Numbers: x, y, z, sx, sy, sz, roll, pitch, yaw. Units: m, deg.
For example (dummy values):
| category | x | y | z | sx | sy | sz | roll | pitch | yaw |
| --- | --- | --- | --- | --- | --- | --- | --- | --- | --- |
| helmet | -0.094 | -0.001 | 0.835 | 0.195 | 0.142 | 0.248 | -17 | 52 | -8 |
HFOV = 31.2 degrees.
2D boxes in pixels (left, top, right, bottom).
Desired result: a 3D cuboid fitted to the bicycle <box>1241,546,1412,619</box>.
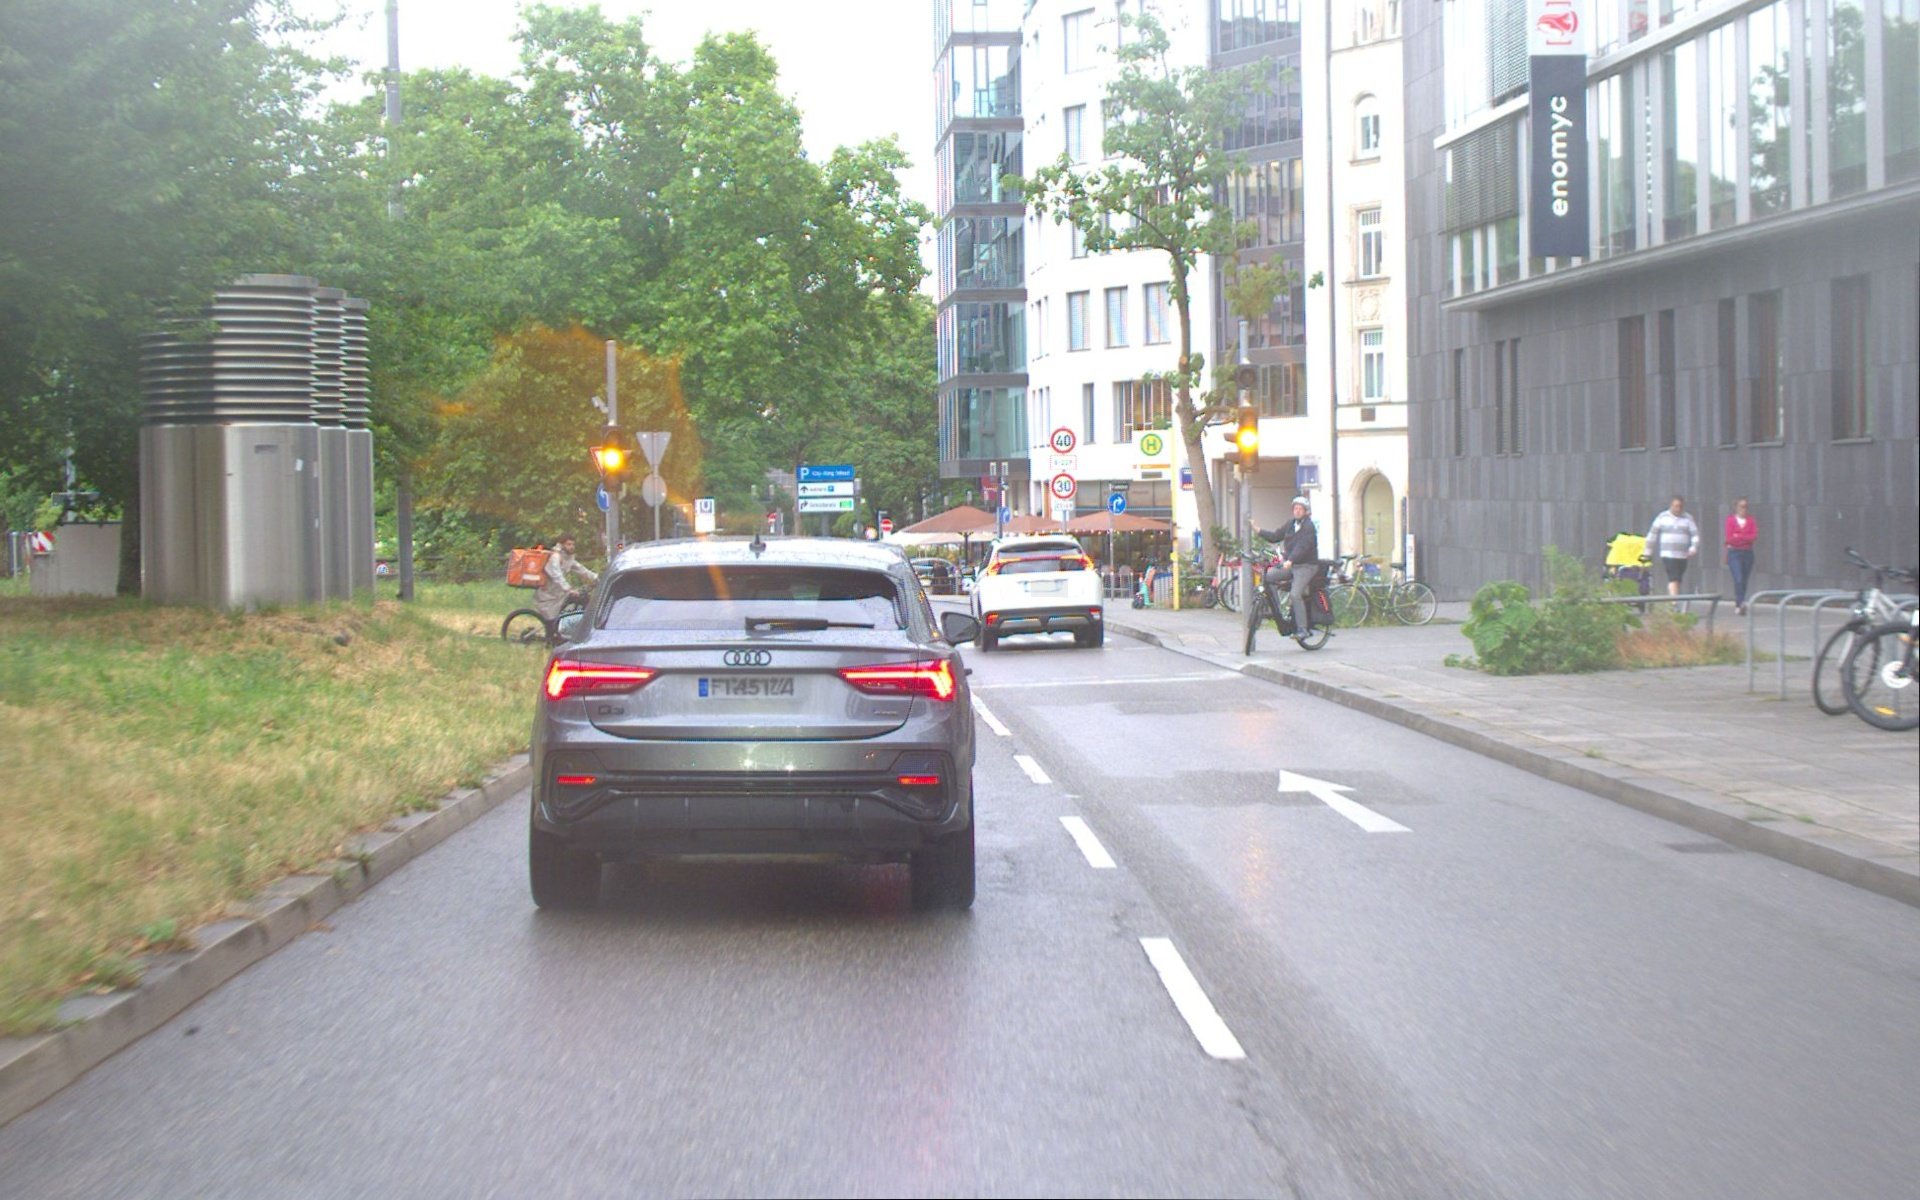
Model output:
| category | x | y | z | sx | sy | sz | roll | pitch | yaw |
| --- | --- | --- | --- | --- | --- | --- | --- | --- | --- |
| bicycle | 5.665 | -0.272 | 53.230 | 2.535 | 1.083 | 0.677 | 1 | 1 | -3 |

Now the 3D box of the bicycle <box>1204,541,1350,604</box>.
| category | x | y | z | sx | sy | sz | roll | pitch | yaw |
| --- | --- | --- | --- | --- | --- | --- | --- | --- | --- |
| bicycle | 5.760 | -0.502 | 62.550 | 2.535 | 1.083 | 0.677 | -2 | 1 | -3 |

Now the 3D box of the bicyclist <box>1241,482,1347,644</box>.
| category | x | y | z | sx | sy | sz | roll | pitch | yaw |
| --- | --- | --- | --- | --- | --- | --- | --- | --- | --- |
| bicyclist | 4.341 | -0.481 | 44.653 | 1.082 | 2.076 | 0.763 | -2 | 1 | -37 |

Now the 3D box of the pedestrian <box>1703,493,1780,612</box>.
| category | x | y | z | sx | sy | sz | roll | pitch | yaw |
| --- | --- | --- | --- | --- | --- | --- | --- | --- | --- |
| pedestrian | 11.421 | -0.702 | 50.285 | 0.718 | 1.684 | 1.100 | -4 | 1 | -4 |

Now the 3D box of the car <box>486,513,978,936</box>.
| category | x | y | z | sx | sy | sz | roll | pitch | yaw |
| --- | --- | --- | --- | --- | --- | --- | --- | --- | --- |
| car | -0.863 | 0.426 | 15.319 | 1.848 | 1.610 | 4.253 | 0 | 2 | 1 |

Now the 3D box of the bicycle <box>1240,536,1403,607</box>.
| category | x | y | z | sx | sy | sz | roll | pitch | yaw |
| --- | --- | --- | --- | --- | --- | --- | --- | --- | --- |
| bicycle | 5.896 | -0.464 | 56.114 | 2.535 | 1.083 | 0.677 | -2 | 1 | -3 |

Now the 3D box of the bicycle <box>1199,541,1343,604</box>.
| category | x | y | z | sx | sy | sz | roll | pitch | yaw |
| --- | --- | --- | --- | --- | --- | --- | --- | --- | --- |
| bicycle | 5.721 | -0.501 | 63.298 | 2.535 | 1.083 | 0.677 | -2 | 1 | -3 |

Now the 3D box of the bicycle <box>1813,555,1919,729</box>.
| category | x | y | z | sx | sy | sz | roll | pitch | yaw |
| --- | --- | --- | --- | --- | --- | --- | --- | --- | --- |
| bicycle | 6.752 | 0.249 | 22.801 | 1.984 | 1.100 | 0.808 | -2 | 1 | 4 |

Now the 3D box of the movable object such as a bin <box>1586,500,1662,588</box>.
| category | x | y | z | sx | sy | sz | roll | pitch | yaw |
| --- | --- | --- | --- | --- | --- | --- | --- | --- | --- |
| movable object such as a bin | 9.930 | -0.836 | 51.448 | 0.731 | 1.259 | 1.444 | -3 | 1 | -2 |

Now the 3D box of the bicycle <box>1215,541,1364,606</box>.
| category | x | y | z | sx | sy | sz | roll | pitch | yaw |
| --- | --- | --- | --- | --- | --- | --- | --- | --- | --- |
| bicycle | 5.830 | -0.470 | 60.907 | 2.535 | 1.083 | 0.677 | -2 | 1 | -3 |

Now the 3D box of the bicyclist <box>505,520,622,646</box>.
| category | x | y | z | sx | sy | sz | roll | pitch | yaw |
| --- | --- | --- | --- | --- | --- | --- | --- | --- | --- |
| bicyclist | -5.122 | -0.225 | 44.463 | 1.133 | 1.577 | 1.014 | 2 | 1 | 20 |

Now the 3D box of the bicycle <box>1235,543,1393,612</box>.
| category | x | y | z | sx | sy | sz | roll | pitch | yaw |
| --- | --- | --- | --- | --- | --- | --- | --- | --- | --- |
| bicycle | 5.955 | -0.388 | 57.889 | 2.535 | 1.083 | 0.677 | -2 | 1 | -3 |

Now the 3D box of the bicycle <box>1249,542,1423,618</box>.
| category | x | y | z | sx | sy | sz | roll | pitch | yaw |
| --- | --- | --- | --- | --- | --- | --- | --- | --- | --- |
| bicycle | 5.732 | -0.308 | 52.424 | 2.535 | 1.083 | 0.677 | -1 | 1 | -3 |

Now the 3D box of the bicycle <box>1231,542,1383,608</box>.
| category | x | y | z | sx | sy | sz | roll | pitch | yaw |
| --- | --- | --- | --- | --- | --- | --- | --- | --- | --- |
| bicycle | 6.061 | -0.441 | 60.062 | 2.535 | 1.083 | 0.677 | -2 | 1 | -3 |

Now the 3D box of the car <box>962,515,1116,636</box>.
| category | x | y | z | sx | sy | sz | roll | pitch | yaw |
| --- | --- | --- | --- | --- | --- | --- | --- | --- | --- |
| car | 1.190 | -0.389 | 51.162 | 2.179 | 1.695 | 4.000 | -1 | 1 | 2 |

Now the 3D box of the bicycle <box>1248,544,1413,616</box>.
| category | x | y | z | sx | sy | sz | roll | pitch | yaw |
| --- | --- | --- | --- | --- | --- | --- | --- | --- | --- |
| bicycle | 5.947 | -0.329 | 55.303 | 2.535 | 1.083 | 0.677 | -2 | 1 | -3 |

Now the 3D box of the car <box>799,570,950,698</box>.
| category | x | y | z | sx | sy | sz | roll | pitch | yaw |
| --- | --- | --- | --- | --- | --- | --- | --- | --- | --- |
| car | -1.149 | 0.441 | 48.048 | 1.945 | 1.641 | 4.245 | -1 | 1 | 1 |

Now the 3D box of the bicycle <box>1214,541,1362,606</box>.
| category | x | y | z | sx | sy | sz | roll | pitch | yaw |
| --- | --- | --- | --- | --- | --- | --- | --- | --- | --- |
| bicycle | 5.874 | -0.479 | 61.658 | 2.535 | 1.083 | 0.677 | -2 | 1 | -3 |

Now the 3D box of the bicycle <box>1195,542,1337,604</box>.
| category | x | y | z | sx | sy | sz | roll | pitch | yaw |
| --- | --- | --- | --- | --- | --- | --- | --- | --- | --- |
| bicycle | 5.694 | -0.502 | 64.021 | 2.535 | 1.083 | 0.627 | -2 | 1 | -3 |

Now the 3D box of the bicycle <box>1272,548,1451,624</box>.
| category | x | y | z | sx | sy | sz | roll | pitch | yaw |
| --- | --- | --- | --- | --- | --- | --- | --- | --- | --- |
| bicycle | 5.944 | -0.215 | 50.942 | 2.535 | 1.053 | 0.677 | -1 | 1 | -3 |

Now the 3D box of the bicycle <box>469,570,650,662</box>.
| category | x | y | z | sx | sy | sz | roll | pitch | yaw |
| --- | --- | --- | --- | --- | --- | --- | --- | --- | --- |
| bicycle | -5.178 | 0.198 | 44.486 | 2.063 | 1.110 | 1.011 | 2 | 1 | 21 |

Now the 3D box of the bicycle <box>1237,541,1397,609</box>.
| category | x | y | z | sx | sy | sz | roll | pitch | yaw |
| --- | --- | --- | --- | --- | --- | --- | --- | --- | --- |
| bicycle | 5.914 | -0.417 | 56.981 | 2.535 | 1.056 | 0.677 | -2 | 1 | -3 |

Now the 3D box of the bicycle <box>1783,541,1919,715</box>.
| category | x | y | z | sx | sy | sz | roll | pitch | yaw |
| --- | --- | --- | --- | --- | --- | --- | --- | --- | --- |
| bicycle | 6.907 | 0.180 | 24.651 | 1.836 | 1.193 | 0.660 | -2 | 1 | 4 |

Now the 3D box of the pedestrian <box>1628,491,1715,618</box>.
| category | x | y | z | sx | sy | sz | roll | pitch | yaw |
| --- | --- | --- | --- | --- | --- | --- | --- | --- | --- |
| pedestrian | 10.374 | -0.670 | 50.152 | 0.900 | 1.786 | 1.047 | -4 | 1 | -4 |

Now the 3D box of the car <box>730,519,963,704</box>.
| category | x | y | z | sx | sy | sz | roll | pitch | yaw |
| --- | --- | --- | --- | --- | --- | --- | --- | --- | --- |
| car | -1.165 | 0.062 | 34.441 | 2.162 | 1.700 | 4.554 | -1 | 1 | -3 |

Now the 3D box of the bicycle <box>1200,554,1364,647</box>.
| category | x | y | z | sx | sy | sz | roll | pitch | yaw |
| --- | --- | --- | --- | --- | --- | --- | --- | --- | --- |
| bicycle | 4.175 | 0.003 | 44.520 | 2.126 | 1.141 | 0.763 | -2 | 1 | -37 |
